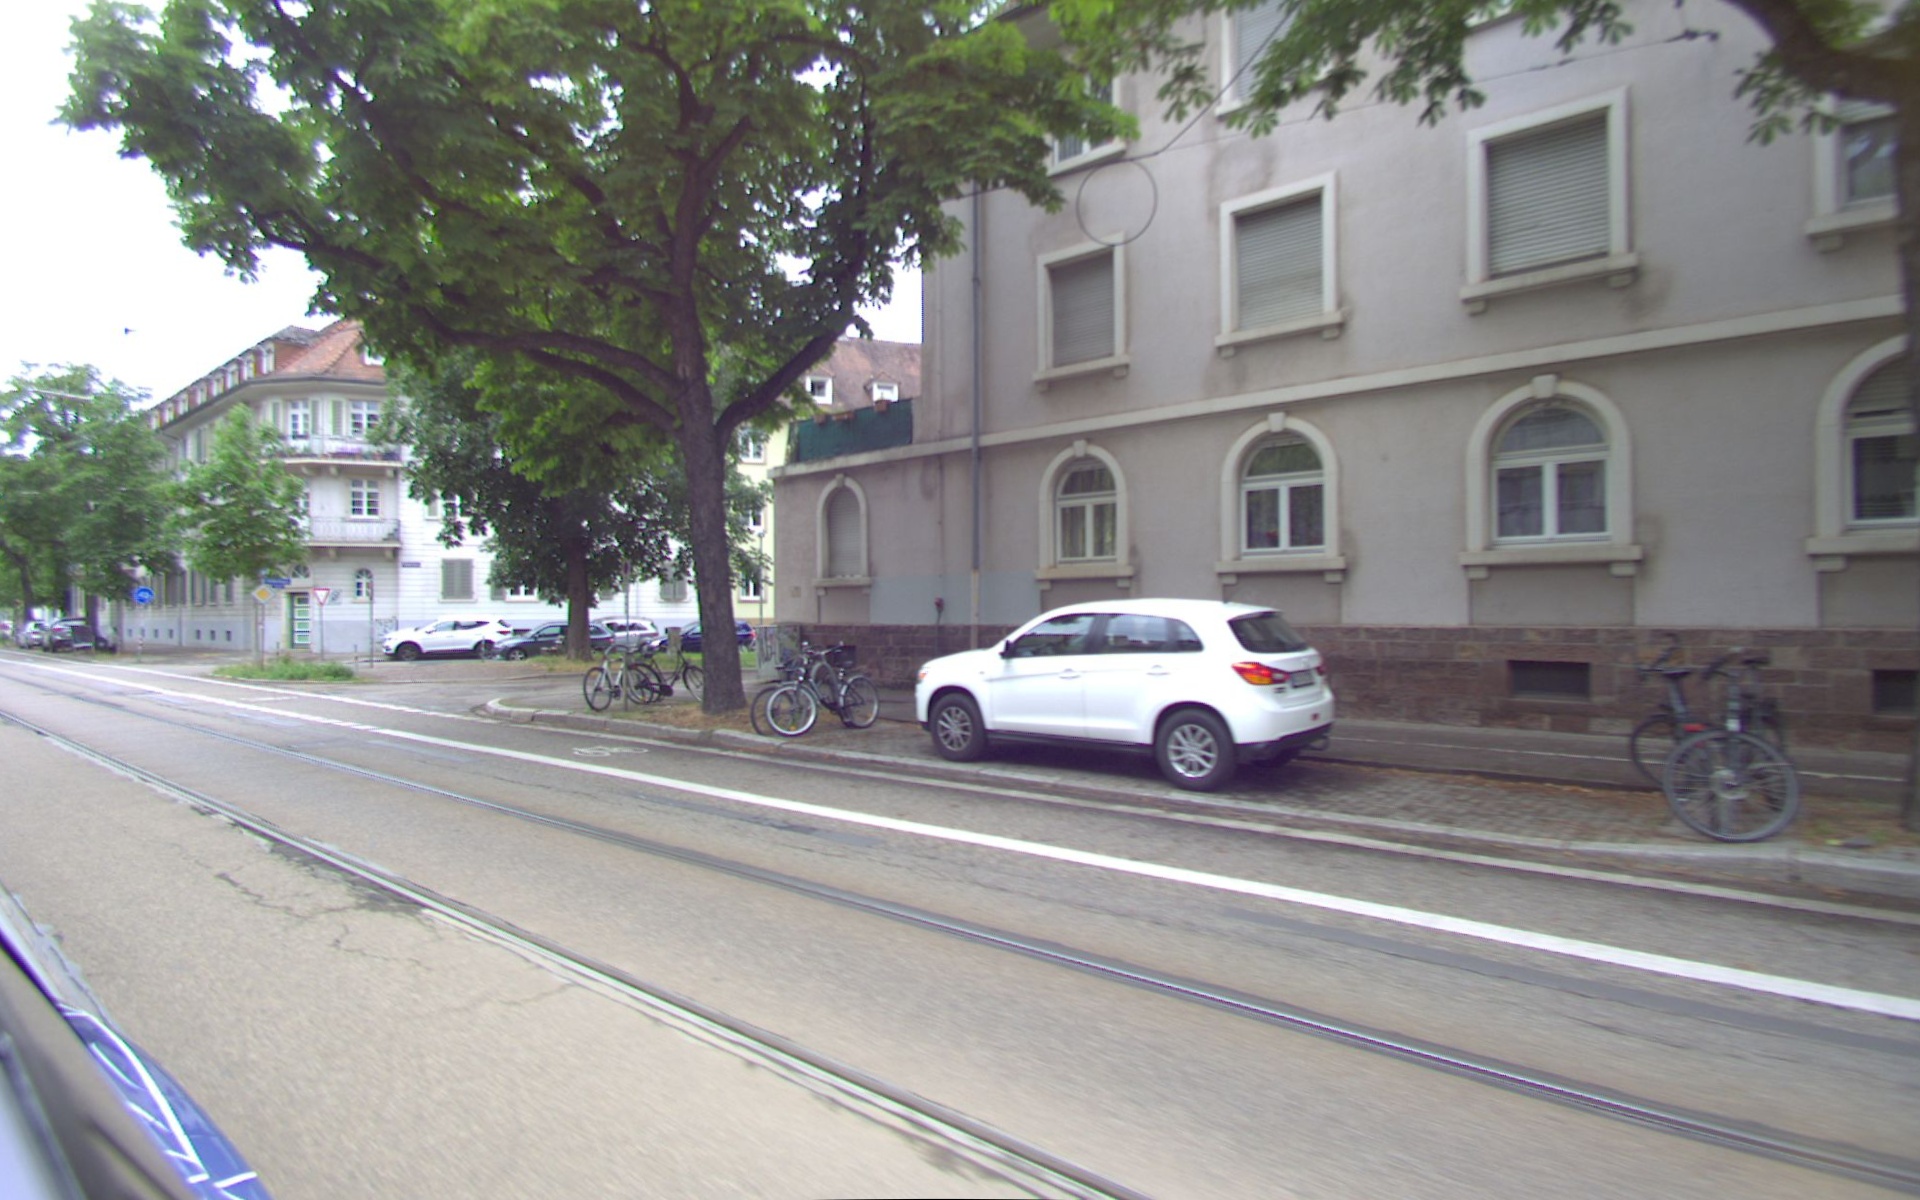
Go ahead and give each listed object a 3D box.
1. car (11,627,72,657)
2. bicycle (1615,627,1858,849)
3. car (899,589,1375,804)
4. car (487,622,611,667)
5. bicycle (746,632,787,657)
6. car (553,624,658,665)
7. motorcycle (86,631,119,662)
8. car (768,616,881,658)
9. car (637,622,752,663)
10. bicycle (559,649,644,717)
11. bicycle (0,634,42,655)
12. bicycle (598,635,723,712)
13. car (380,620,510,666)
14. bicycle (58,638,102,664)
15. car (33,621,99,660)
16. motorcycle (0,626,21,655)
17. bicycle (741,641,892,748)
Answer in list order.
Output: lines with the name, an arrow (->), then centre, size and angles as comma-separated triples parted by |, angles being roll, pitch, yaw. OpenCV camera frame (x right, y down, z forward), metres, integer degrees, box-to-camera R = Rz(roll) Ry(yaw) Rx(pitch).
car -> -48.627, 2.189, 53.540 | 4.610, 1.477, 1.793 | -2, -1, 40
bicycle -> 5.104, 0.840, 6.624 | 1.720, 1.202, 0.654 | -2, -5, -35
car -> 1.586, 0.785, 9.935 | 4.221, 1.668, 1.878 | -2, -1, 40
car -> -14.606, 1.561, 36.146 | 4.000, 1.421, 1.667 | -1, 0, -20
bicycle -> -7.088, 1.618, 37.006 | 1.371, 0.903, 0.582 | 0, -1, -22
car -> -14.690, 1.803, 41.907 | 3.978, 1.524, 1.744 | -1, 0, -23
motorcycle -> -36.682, 1.986, 43.297 | 2.137, 1.267, 0.535 | -1, -1, 35
car -> -5.381, 1.441, 40.148 | 4.117, 1.491, 1.708 | -1, 0, -23
car -> -9.999, 1.569, 38.124 | 3.940, 1.356, 1.671 | -1, 0, -23
bicycle -> -5.456, 1.239, 15.396 | 1.393, 0.965, 0.479 | -1, -1, 33
bicycle -> -55.505, 2.623, 59.824 | 1.718, 1.137, 0.519 | -2, 0, -31
bicycle -> -4.758, 1.159, 16.037 | 1.925, 1.144, 0.671 | -2, -2, 25
car -> -20.126, 1.637, 39.751 | 4.438, 1.675, 1.945 | 0, -1, -24
bicycle -> -39.163, 2.270, 45.041 | 0.930, 1.012, 1.361 | -2, 1, 45
car -> -42.565, 1.915, 48.166 | 4.292, 1.673, 1.818 | -2, 1, 42
motorcycle -> -54.471, 2.310, 58.044 | 0.822, 1.655, 2.483 | 0, -1, -41
bicycle -> -1.753, 1.128, 12.625 | 0.623, 1.129, 1.903 | -2, 0, 40
